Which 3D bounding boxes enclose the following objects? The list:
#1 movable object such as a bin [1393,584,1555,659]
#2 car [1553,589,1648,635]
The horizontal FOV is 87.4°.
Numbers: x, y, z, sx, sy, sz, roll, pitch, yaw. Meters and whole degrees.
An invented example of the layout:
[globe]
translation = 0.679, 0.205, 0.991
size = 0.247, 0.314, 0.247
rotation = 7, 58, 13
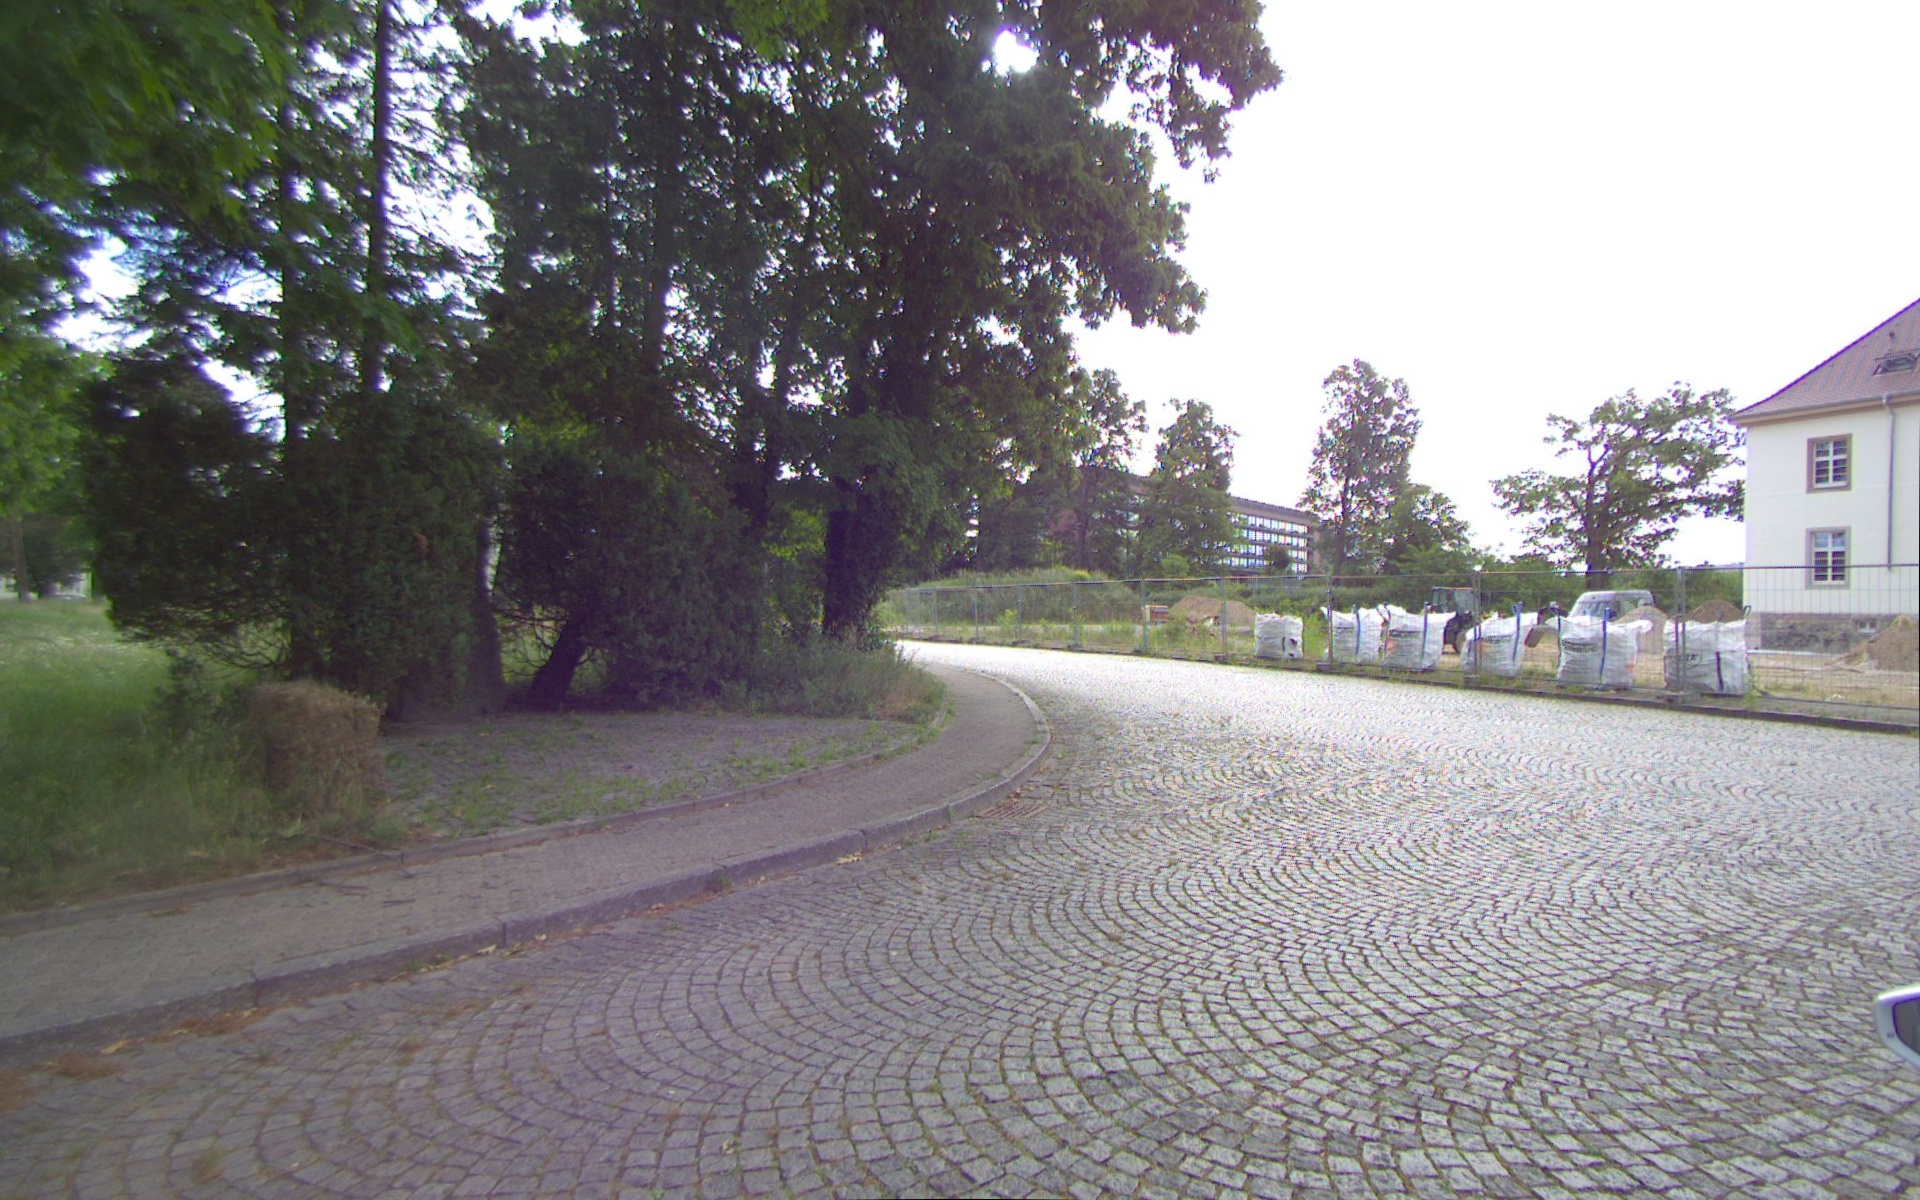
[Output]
[movable object such as a bin]
translation = 19.189, 0.754, 37.799
size = 1.974, 2.590, 5.310
rotation = 0, 0, -27
[car]
translation = 31.261, 0.584, 48.991
size = 4.845, 2.179, 2.056
rotation = 1, 0, -33
